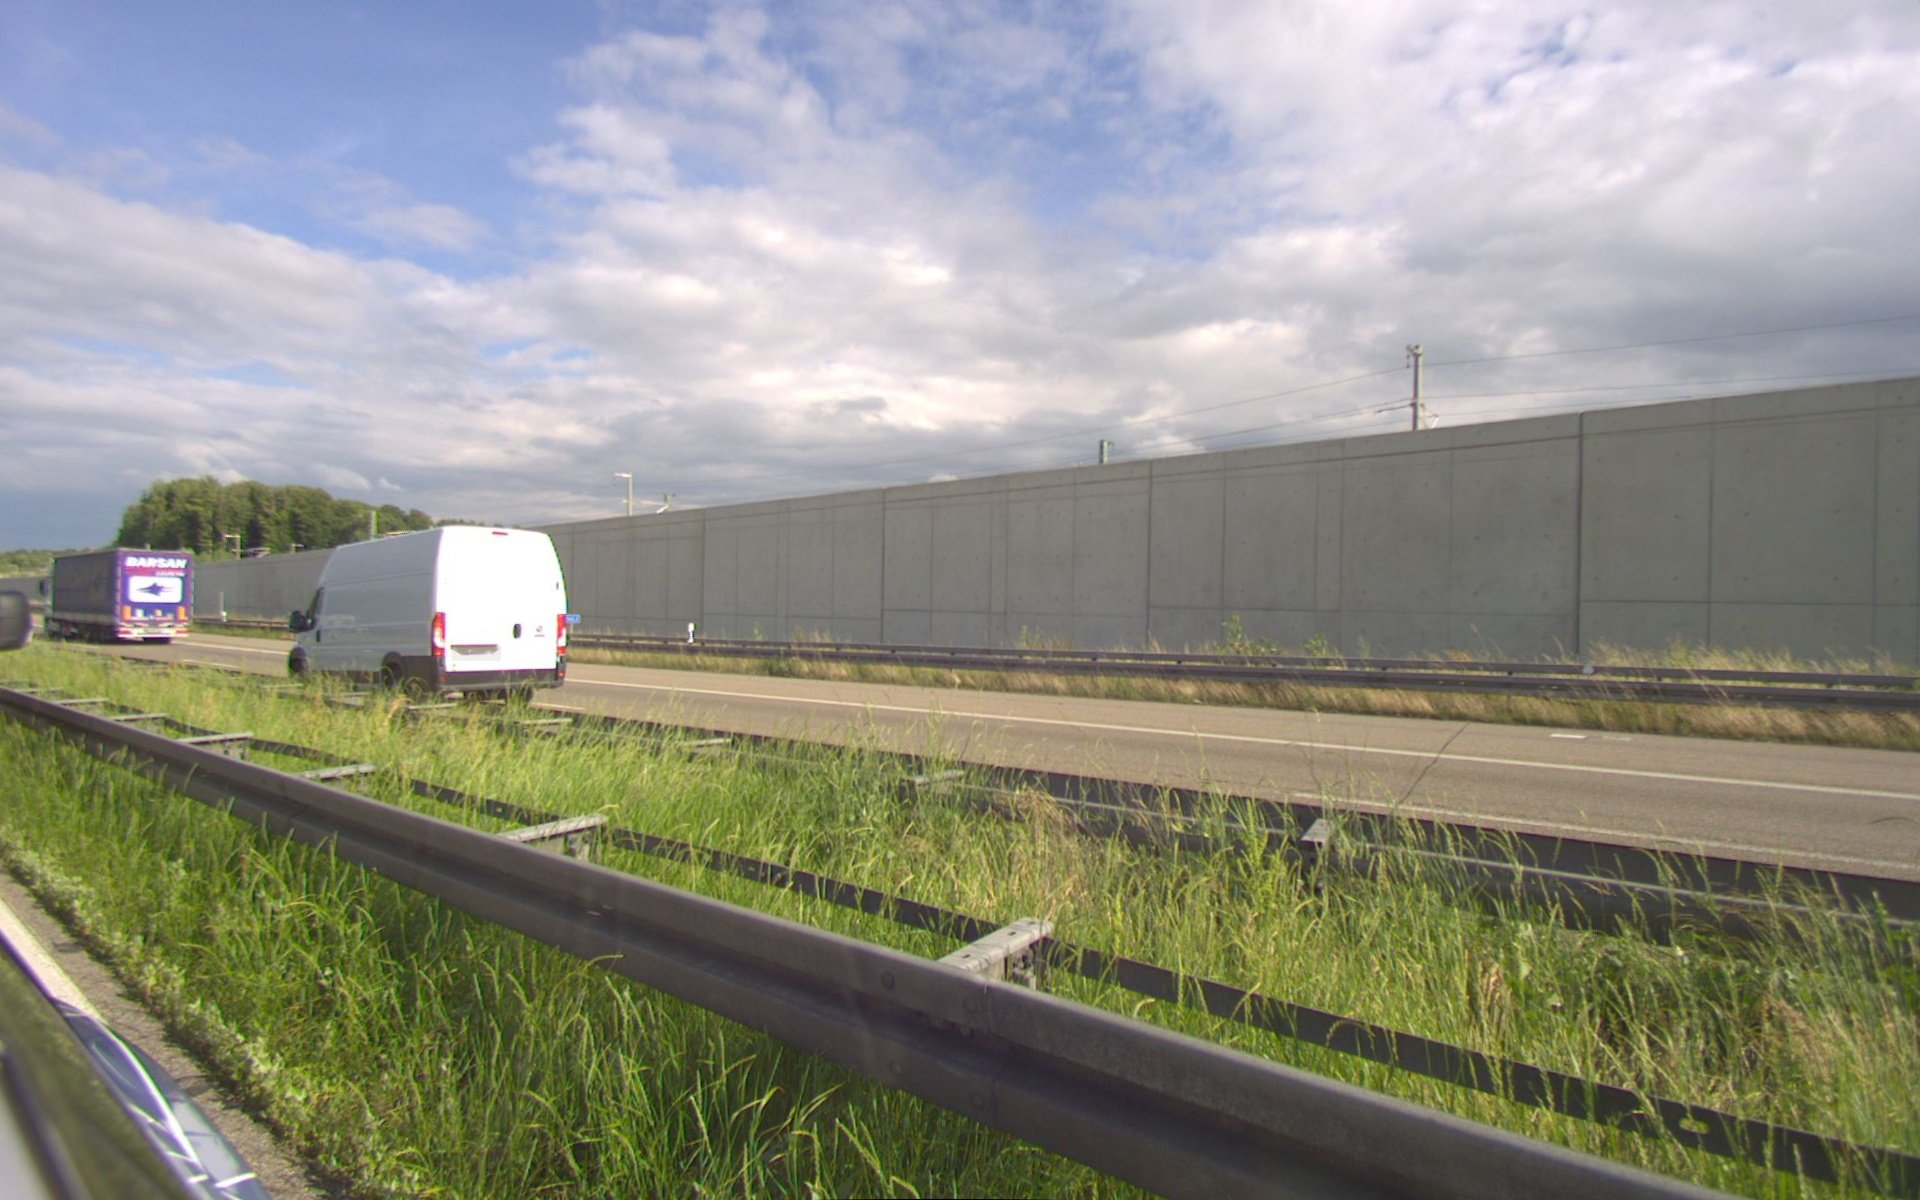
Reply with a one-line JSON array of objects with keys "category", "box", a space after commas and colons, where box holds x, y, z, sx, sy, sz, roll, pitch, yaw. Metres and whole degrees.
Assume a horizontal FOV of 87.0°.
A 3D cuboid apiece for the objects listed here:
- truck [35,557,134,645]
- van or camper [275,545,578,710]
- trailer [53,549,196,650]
[{"category": "truck", "box": [-44.017, 0.040, 50.834, 6.995, 4.129, 2.611, 0, 0, 40]}, {"category": "van or camper", "box": [-8.875, 0.379, 16.506, 6.253, 2.222, 2.145, 0, 0, 40]}, {"category": "trailer", "box": [-38.340, 0.002, 46.178, 12.383, 4.111, 2.628, 0, 0, 39]}]
